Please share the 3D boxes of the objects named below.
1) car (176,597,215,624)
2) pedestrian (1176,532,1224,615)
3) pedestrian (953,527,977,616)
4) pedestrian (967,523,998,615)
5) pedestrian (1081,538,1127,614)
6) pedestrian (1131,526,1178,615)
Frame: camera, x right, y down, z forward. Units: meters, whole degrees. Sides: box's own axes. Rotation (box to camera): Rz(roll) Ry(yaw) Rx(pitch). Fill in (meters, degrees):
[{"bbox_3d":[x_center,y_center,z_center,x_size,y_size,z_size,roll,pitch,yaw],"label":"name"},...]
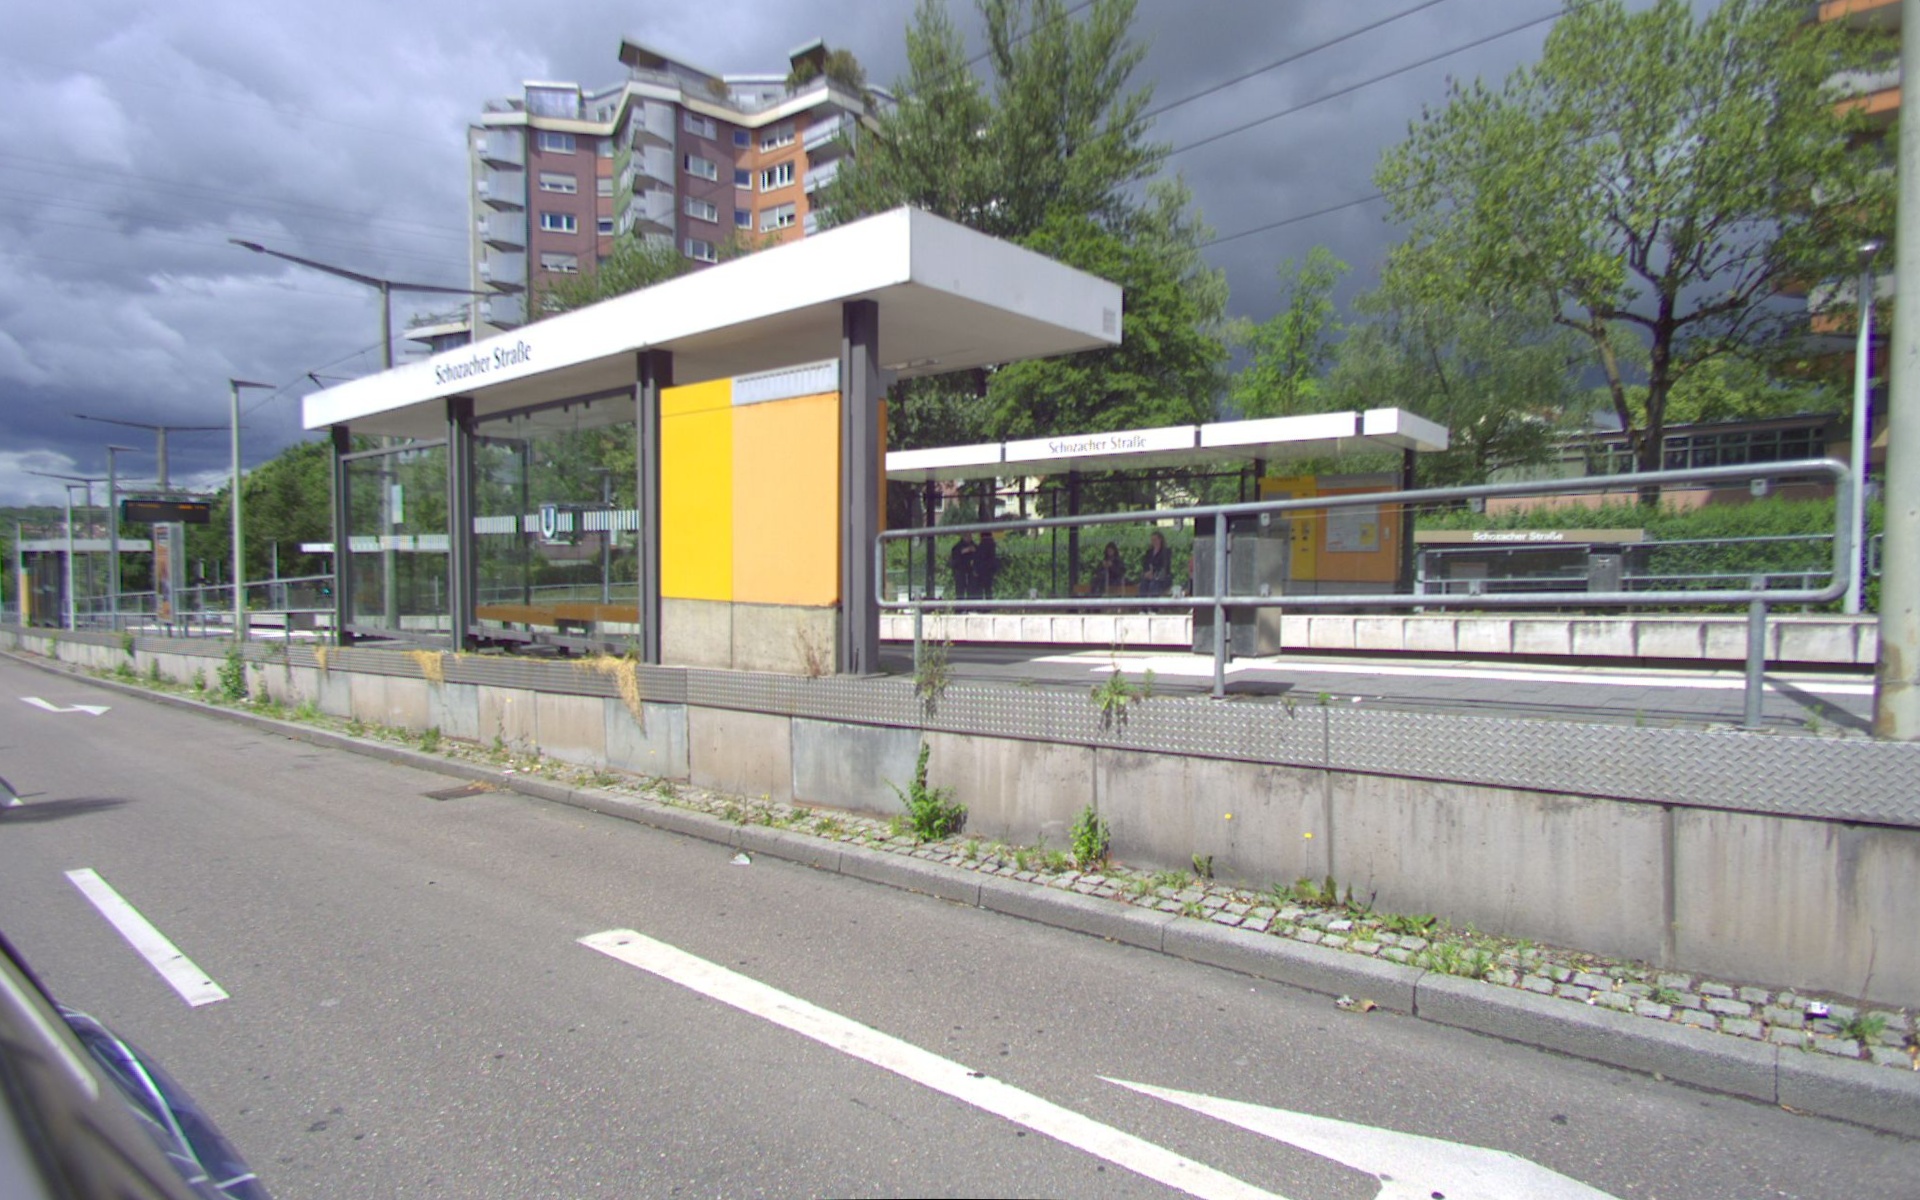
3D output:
[{"bbox_3d":[-60.458,0.828,80.003,4.000,2.029,1.714,-1,0,43],"label":"car"},{"bbox_3d":[3.828,-0.418,16.136,0.463,1.287,0.704,-1,0,40],"label":"pedestrian"},{"bbox_3d":[0.097,-0.554,19.840,0.421,1.726,0.353,-1,0,-1],"label":"pedestrian"},{"bbox_3d":[0.430,-0.584,19.245,0.544,1.726,0.386,-1,0,-2],"label":"pedestrian"},{"bbox_3d":[2.489,-0.401,17.490,0.463,1.287,0.704,-1,0,40],"label":"pedestrian"},{"bbox_3d":[3.204,-0.480,16.689,0.463,1.428,0.704,-1,0,40],"label":"pedestrian"}]
